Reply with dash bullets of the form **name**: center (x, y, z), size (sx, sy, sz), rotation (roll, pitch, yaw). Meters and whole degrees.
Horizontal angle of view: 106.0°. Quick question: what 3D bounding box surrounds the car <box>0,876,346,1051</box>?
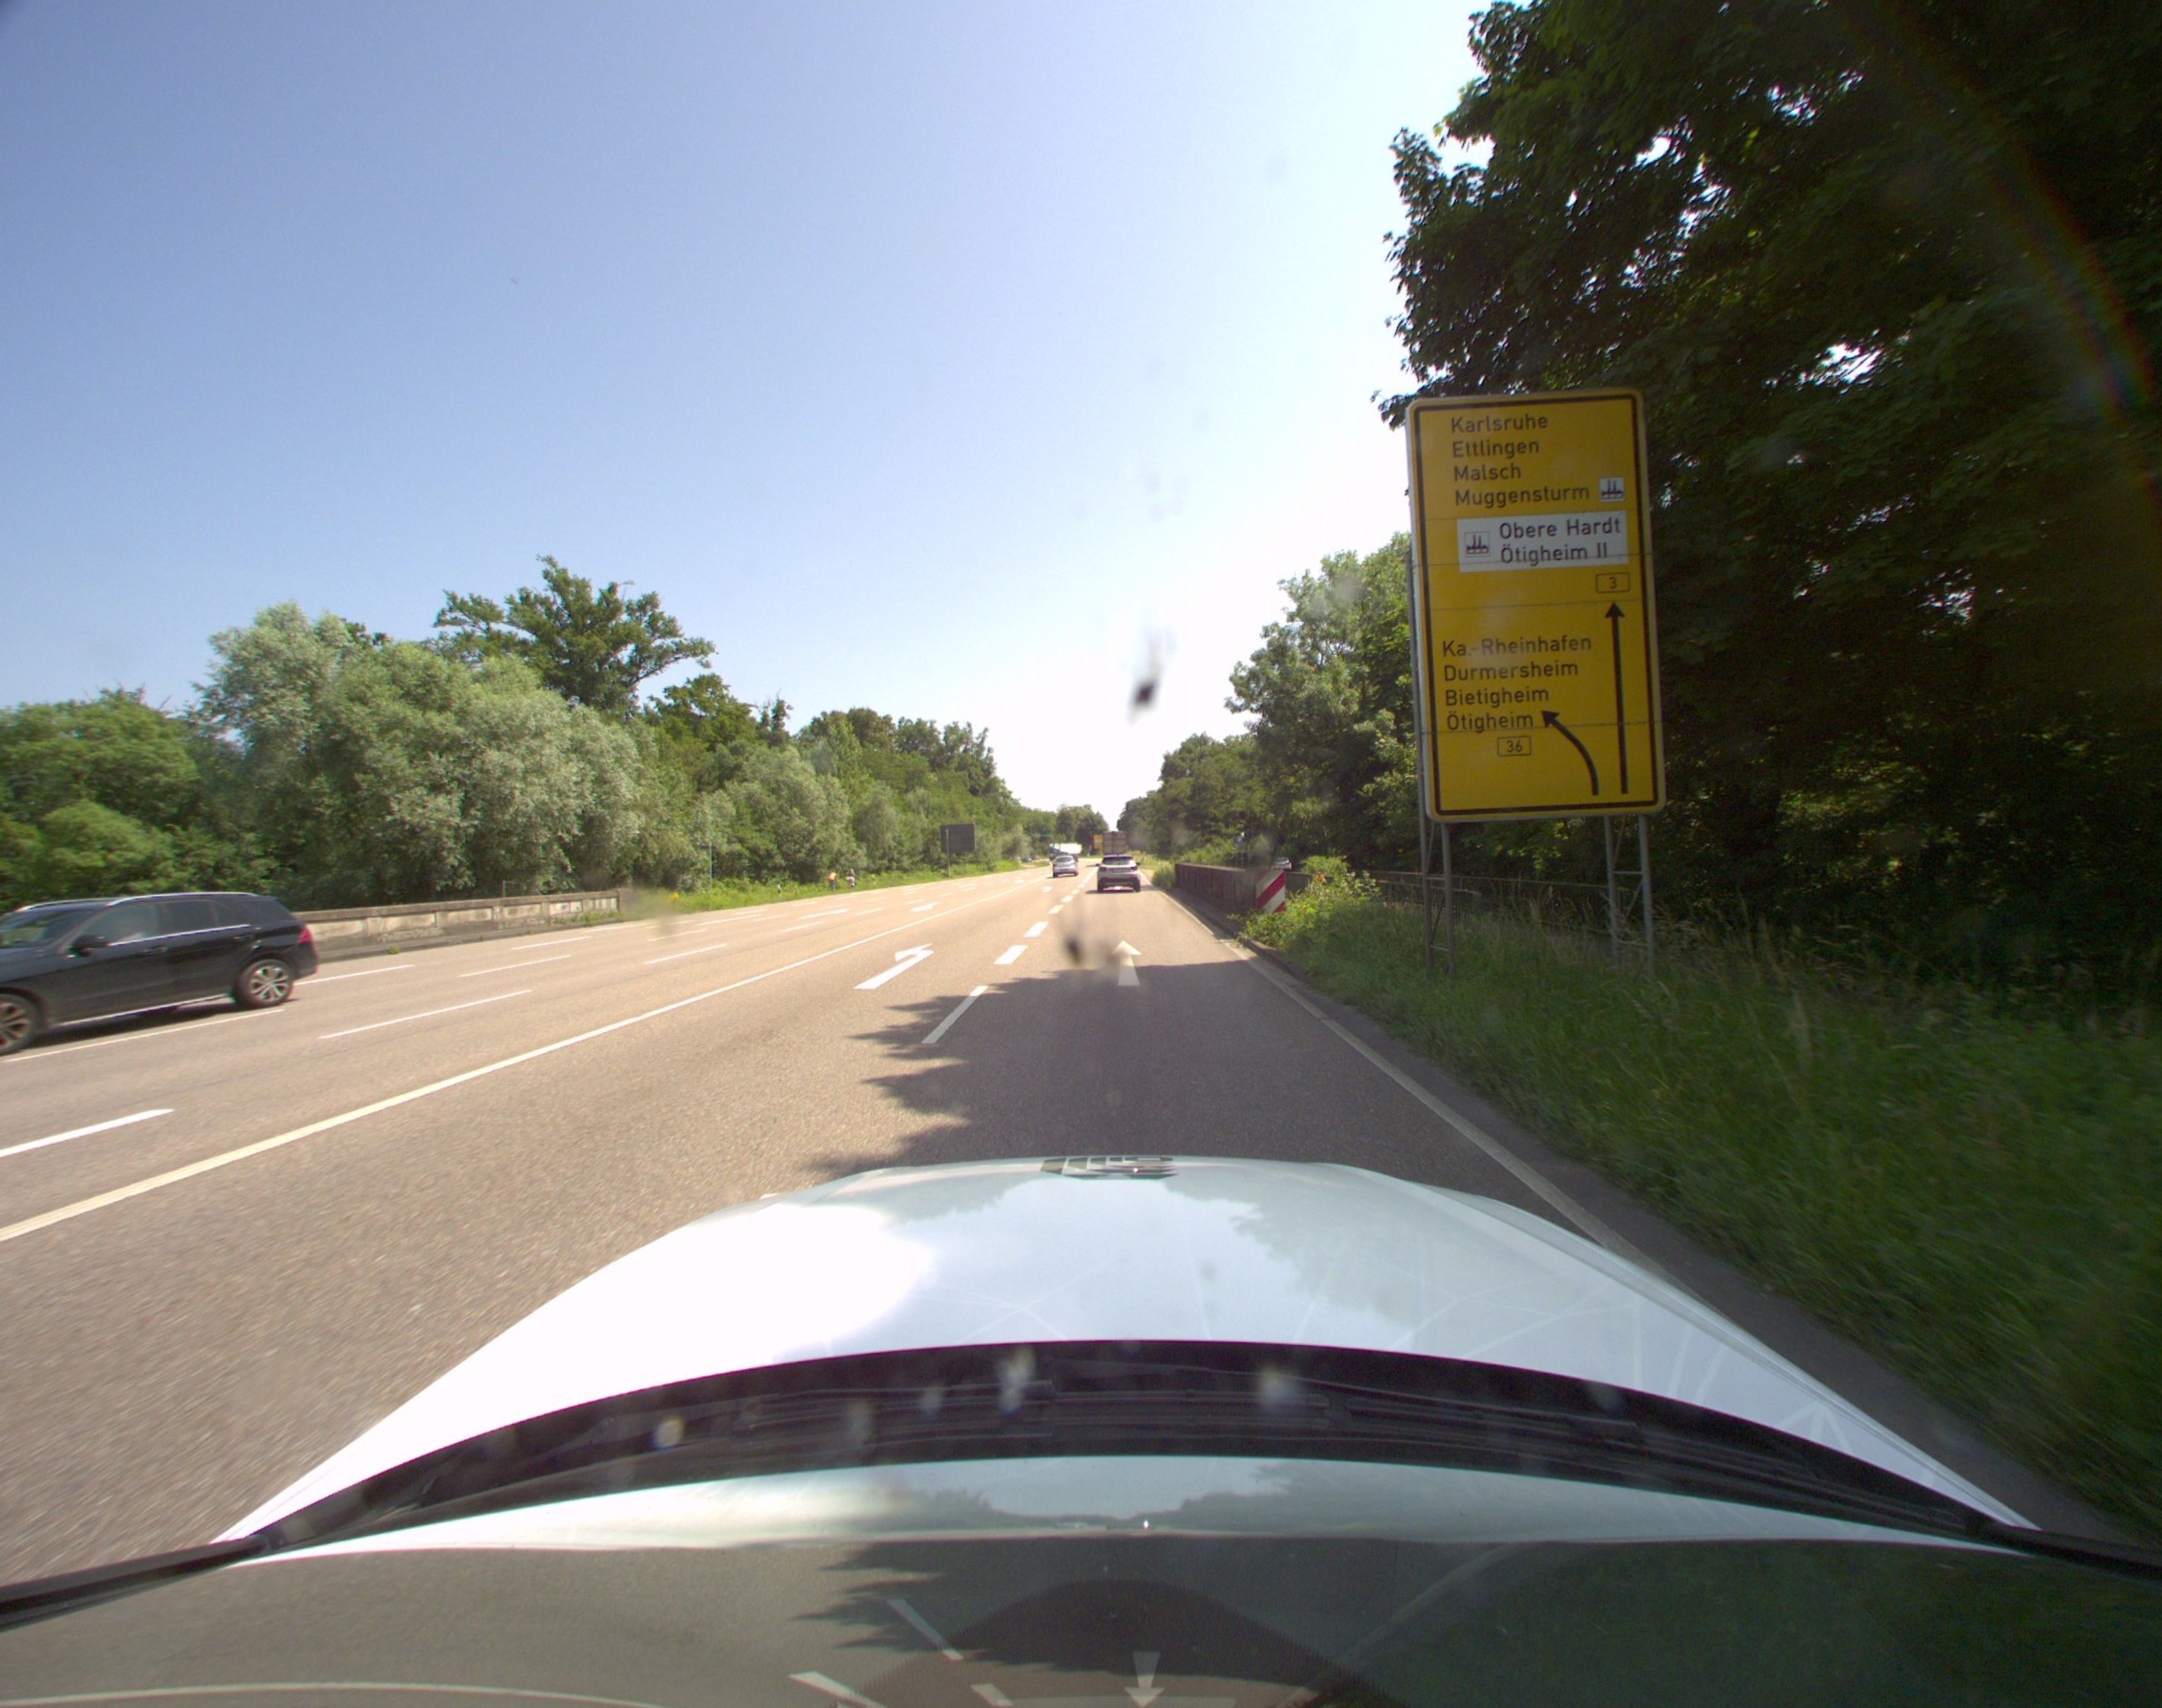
- **car**: center (-13.156, 1.347, 10.882), size (1.986, 1.882, 4.961), rotation (-3, 0, 2)

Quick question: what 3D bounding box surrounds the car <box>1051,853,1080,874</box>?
- **car**: center (-1.049, 0.633, 56.944), size (1.659, 1.430, 3.831), rotation (-1, 0, 3)

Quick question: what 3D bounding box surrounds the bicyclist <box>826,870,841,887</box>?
- **bicyclist**: center (-18.551, 1.842, 61.062), size (0.752, 1.195, 0.594), rotation (-4, 0, 12)

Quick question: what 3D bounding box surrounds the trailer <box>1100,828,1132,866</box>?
- **trailer**: center (3.979, -0.688, 93.670), size (3.369, 3.989, 10.810), rotation (-1, -1, 2)

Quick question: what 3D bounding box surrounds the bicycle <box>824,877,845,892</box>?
- **bicycle**: center (-18.498, 2.295, 61.180), size (0.671, 1.005, 1.806), rotation (-4, 0, 12)

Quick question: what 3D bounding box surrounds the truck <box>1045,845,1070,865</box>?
- **truck**: center (-5.306, 0.288, 180.899), size (3.651, 4.105, 9.464), rotation (-1, -1, -14)

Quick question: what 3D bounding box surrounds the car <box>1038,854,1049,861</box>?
- **car**: center (-9.060, 0.822, 197.614), size (1.995, 1.585, 3.984), rotation (-1, -1, -12)

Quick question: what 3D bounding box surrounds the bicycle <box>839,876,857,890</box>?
- **bicycle**: center (-18.202, 2.252, 63.760), size (0.600, 1.006, 1.561), rotation (-4, -1, 13)

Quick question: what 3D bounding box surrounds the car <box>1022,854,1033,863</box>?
- **car**: center (-12.497, 1.116, 189.909), size (1.993, 1.881, 3.987), rotation (-4, 0, -9)

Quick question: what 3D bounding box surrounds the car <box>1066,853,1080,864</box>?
- **car**: center (-1.593, 0.843, 163.999), size (1.993, 2.013, 4.539), rotation (-3, -1, -9)

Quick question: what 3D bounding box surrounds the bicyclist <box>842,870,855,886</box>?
- **bicyclist**: center (-18.196, 1.904, 63.846), size (0.730, 1.195, 0.594), rotation (-4, -1, 13)

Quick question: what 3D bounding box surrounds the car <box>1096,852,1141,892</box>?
- **car**: center (1.593, 0.702, 34.419), size (1.760, 1.535, 4.003), rotation (-2, 0, 3)
